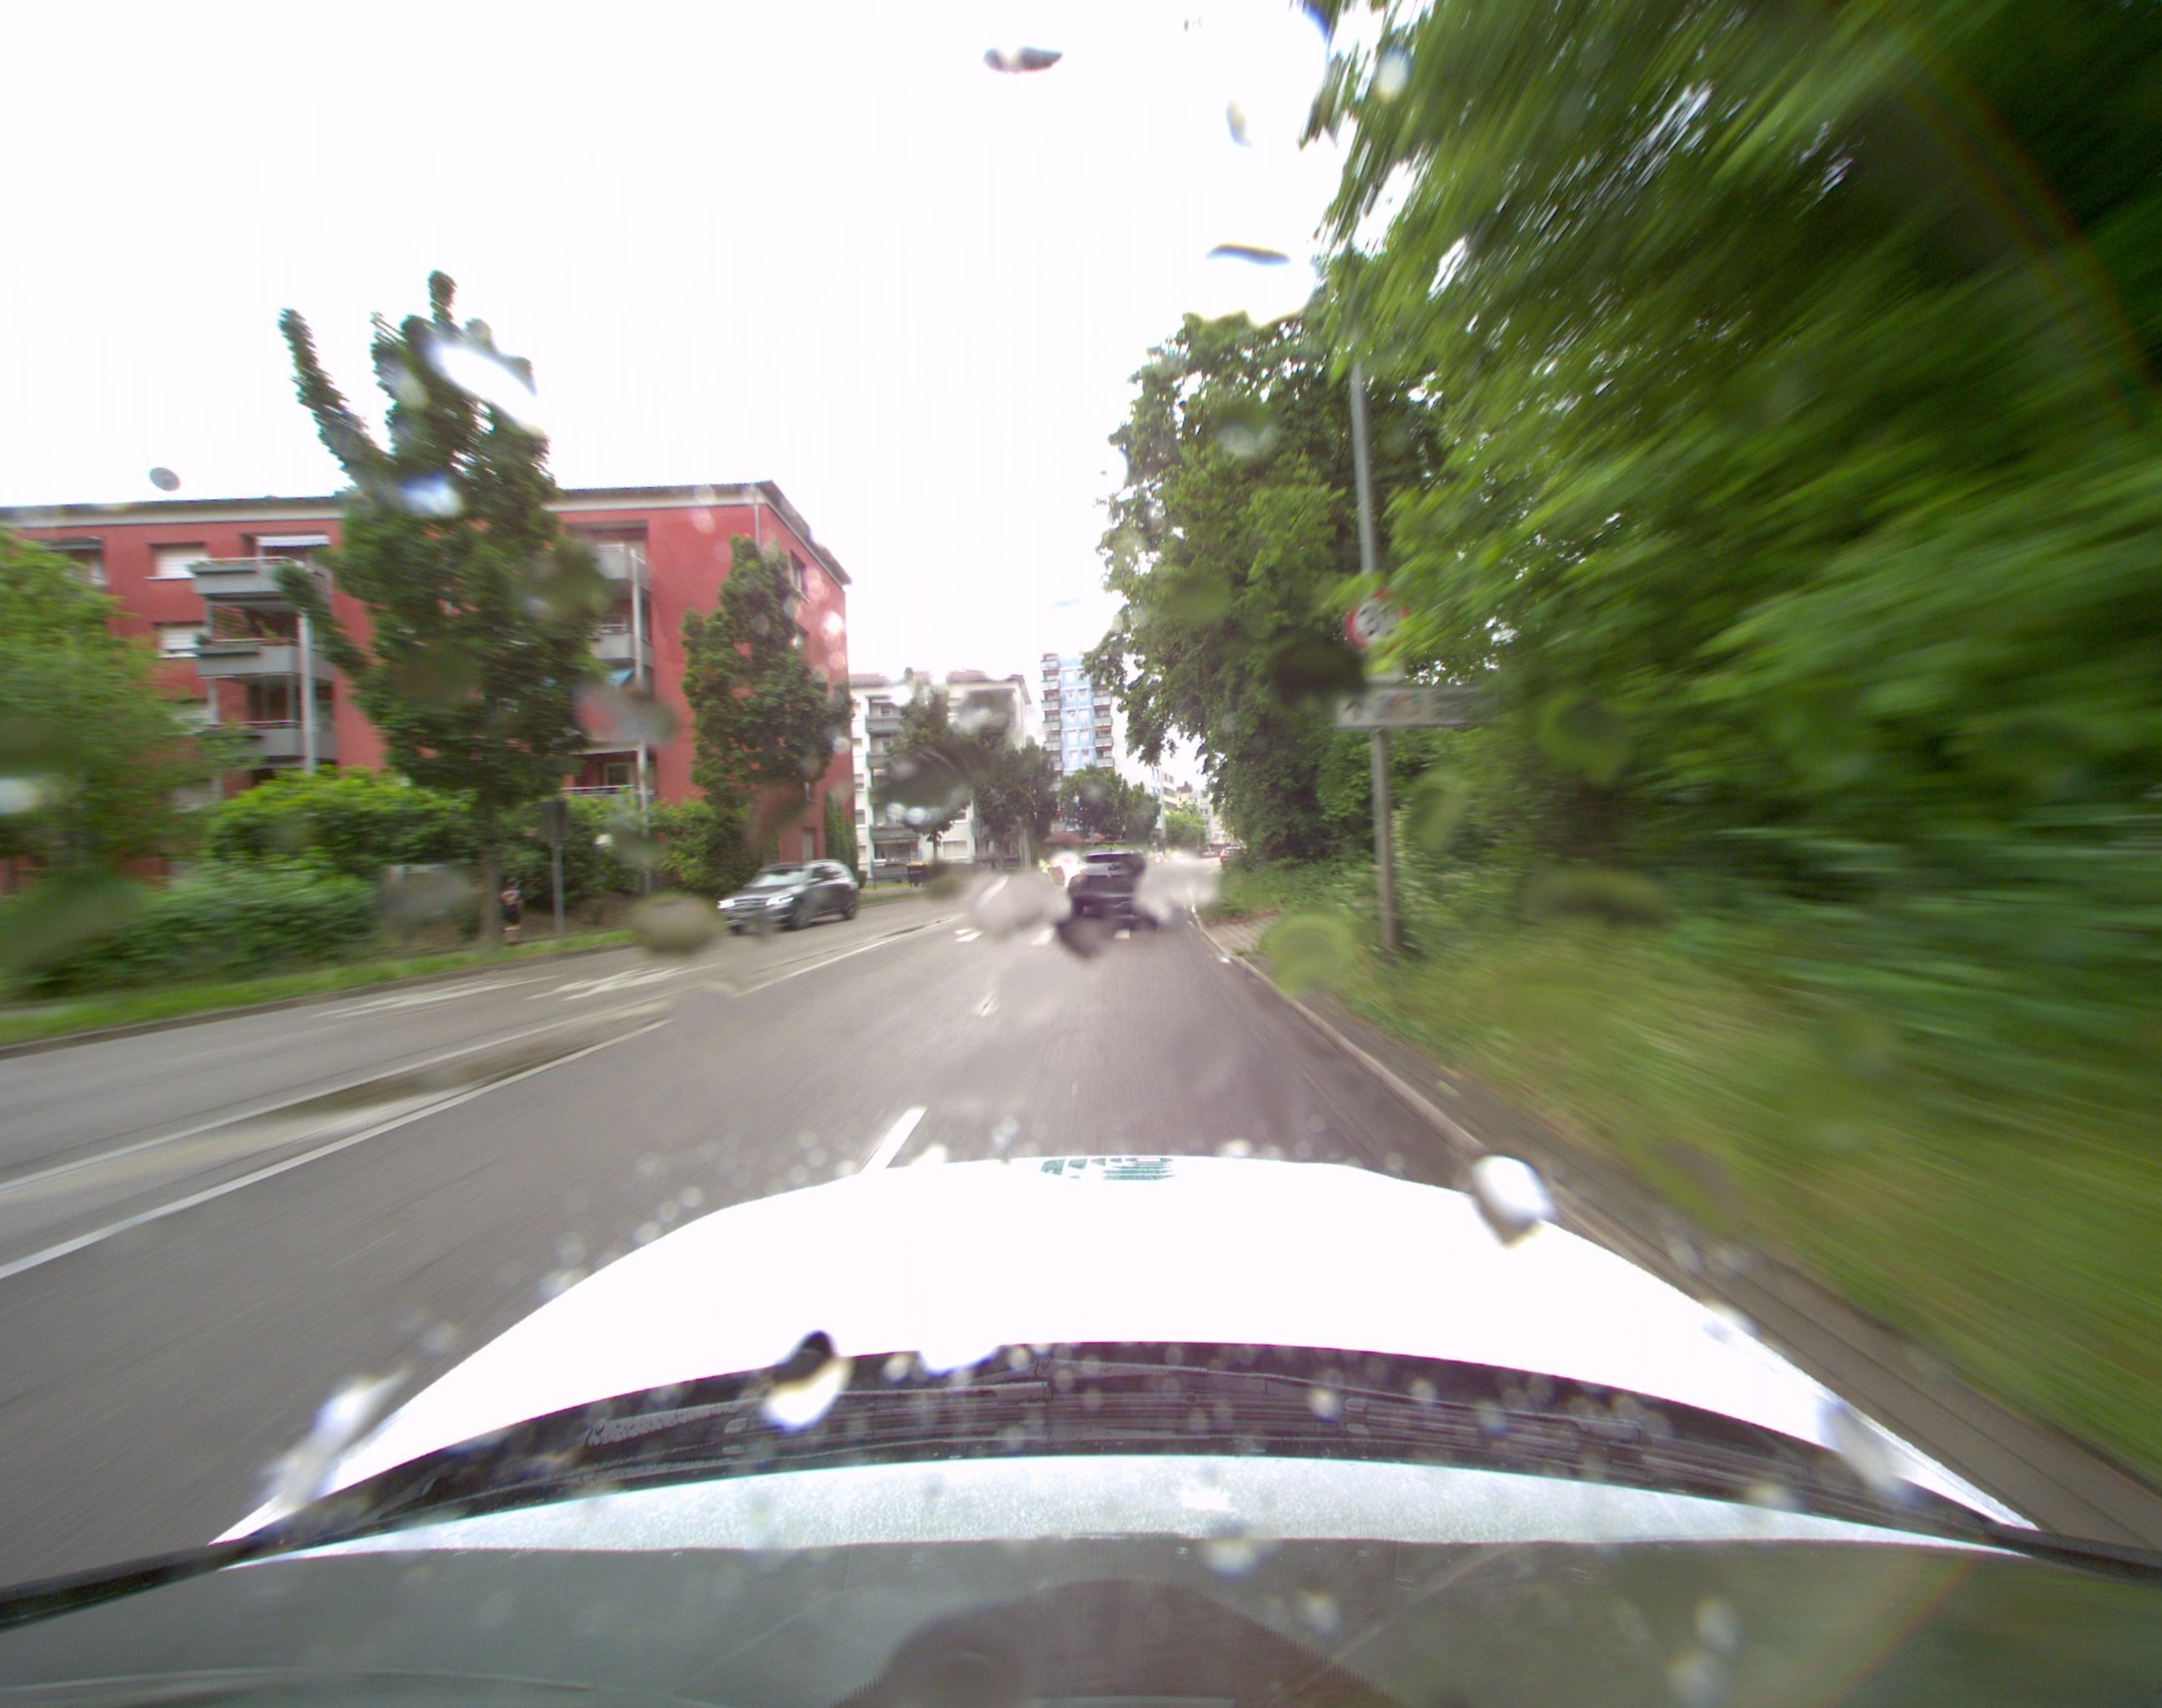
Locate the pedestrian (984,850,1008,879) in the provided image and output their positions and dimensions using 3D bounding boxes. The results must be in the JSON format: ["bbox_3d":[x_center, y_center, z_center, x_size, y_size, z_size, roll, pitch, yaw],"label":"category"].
[{"bbox_3d":[-5.591,0.701,53.535,1.127,1.804,1.267,-3,0,11],"label":"pedestrian"}]

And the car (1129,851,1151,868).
[{"bbox_3d":[6.522,0.567,89.593,1.862,1.602,4.478,-5,0,10],"label":"car"}]

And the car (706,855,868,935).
[{"bbox_3d":[-7.370,0.954,20.999,1.911,1.631,4.512,-5,0,8],"label":"car"}]

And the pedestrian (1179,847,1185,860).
[{"bbox_3d":[17.006,-0.082,137.085,0.935,2.013,0.888,-4,-1,6],"label":"pedestrian"}]

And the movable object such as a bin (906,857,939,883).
[{"bbox_3d":[-9.041,0.906,46.518,1.150,1.331,1.971,-3,0,9],"label":"movable object such as a bin"}]

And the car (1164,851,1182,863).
[{"bbox_3d":[12.399,0.375,109.249,1.861,1.390,4.642,-5,0,11],"label":"car"}]

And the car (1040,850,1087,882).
[{"bbox_3d":[-0.868,0.596,43.495,1.665,1.562,4.154,-1,1,10],"label":"car"}]

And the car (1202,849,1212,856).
[{"bbox_3d":[27.717,-0.361,179.108,1.661,1.478,3.621,-4,-1,13],"label":"car"}]

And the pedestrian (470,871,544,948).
[{"bbox_3d":[-12.194,1.151,17.334,0.689,1.517,1.071,-3,0,6],"label":"pedestrian"}]

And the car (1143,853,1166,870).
[{"bbox_3d":[7.035,0.649,77.557,1.830,1.385,4.372,-5,0,9],"label":"car"}]

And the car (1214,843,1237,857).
[{"bbox_3d":[16.747,-0.486,94.187,2.050,1.464,4.606,-3,0,15],"label":"car"}]

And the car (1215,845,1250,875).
[{"bbox_3d":[11.278,0.404,60.588,1.978,2.013,4.019,-3,0,18],"label":"car"}]

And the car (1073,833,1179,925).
[{"bbox_3d":[0.899,0.481,17.556,1.953,1.652,4.001,-3,0,1],"label":"car"}]
